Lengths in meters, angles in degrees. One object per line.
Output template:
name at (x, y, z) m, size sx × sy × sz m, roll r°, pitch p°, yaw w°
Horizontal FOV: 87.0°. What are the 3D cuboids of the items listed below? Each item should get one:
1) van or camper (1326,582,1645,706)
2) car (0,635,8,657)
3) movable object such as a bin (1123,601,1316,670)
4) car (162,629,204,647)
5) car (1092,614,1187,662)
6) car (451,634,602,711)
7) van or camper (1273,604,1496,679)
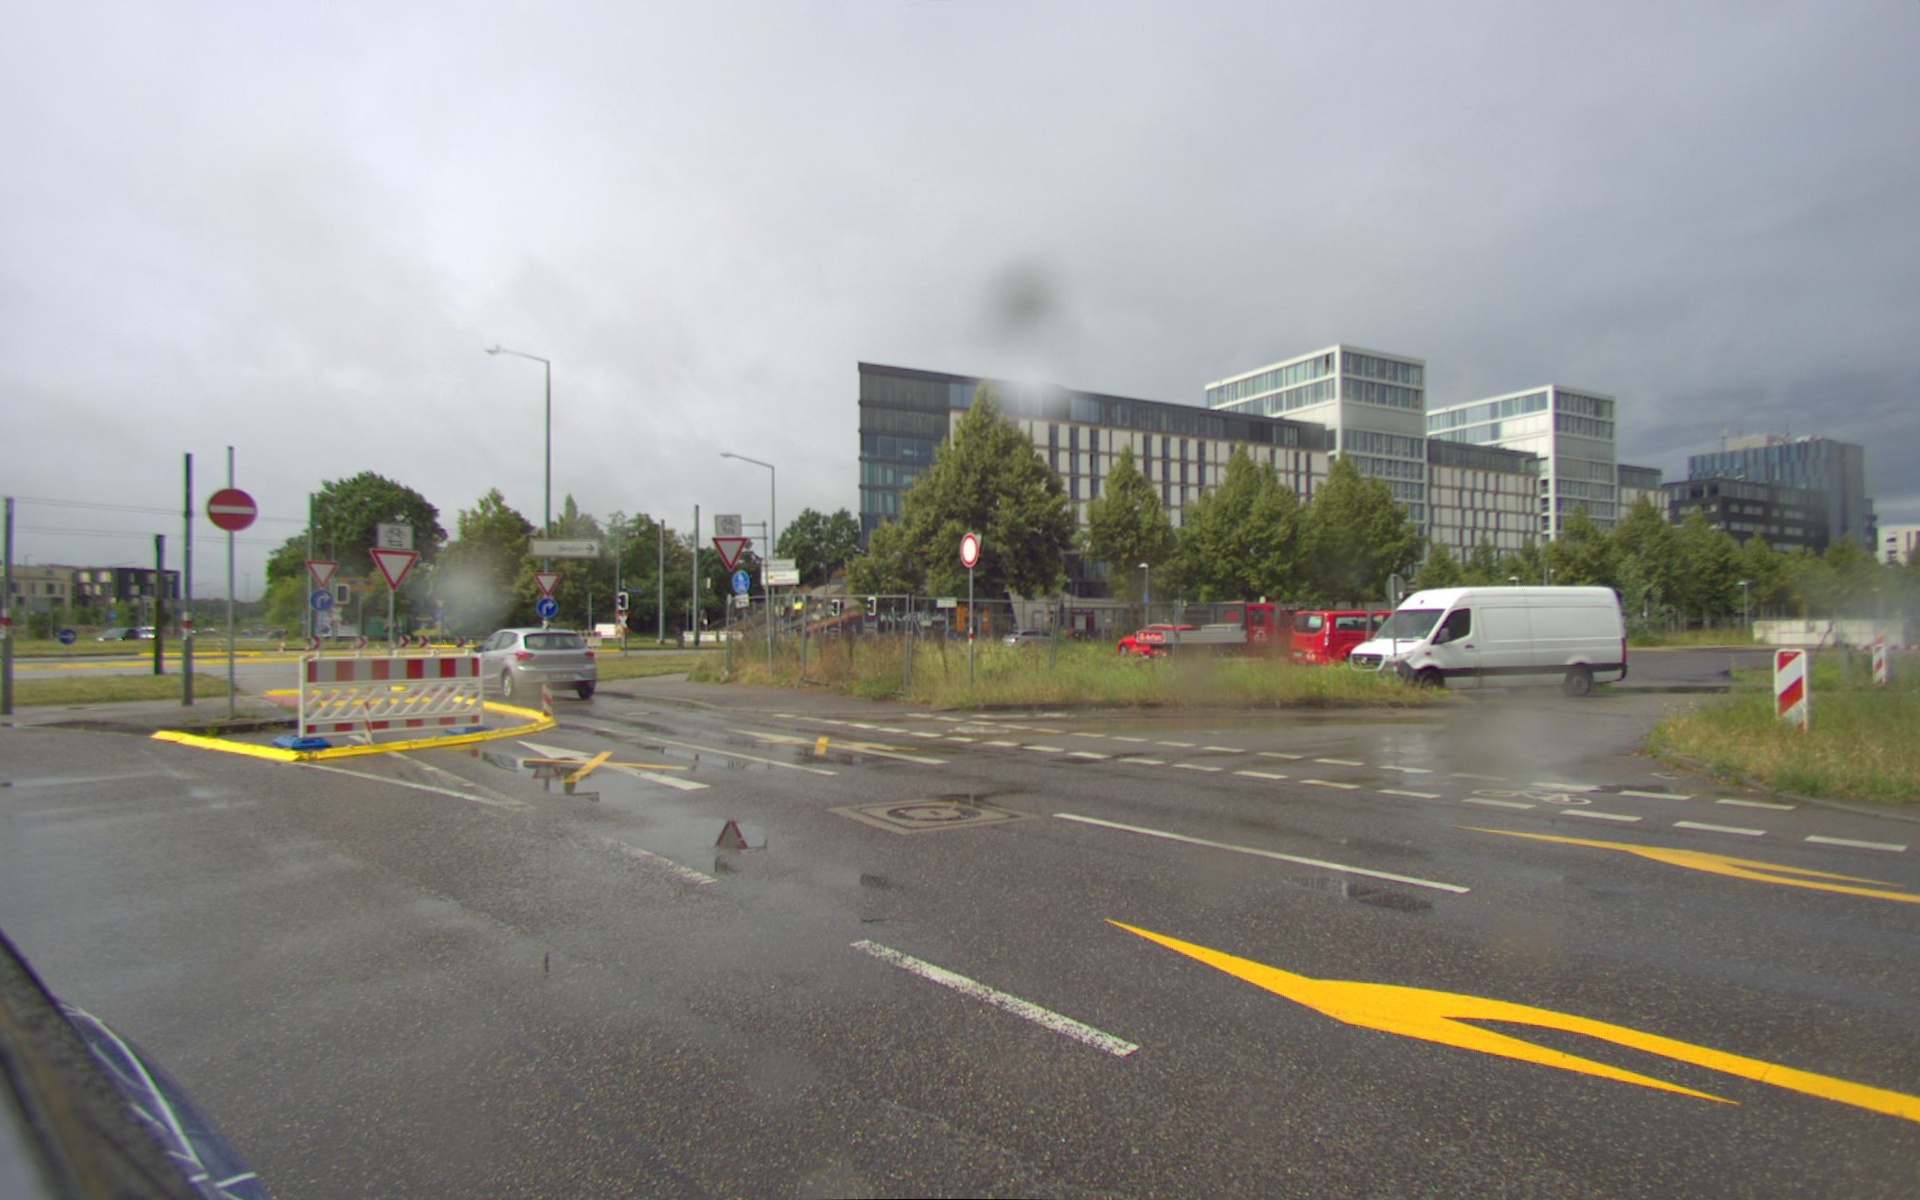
van or camper at (12.502, 0.986, 24.141) m, size 6.863 × 2.667 × 2.519 m, roll 0°, pitch -2°, yaw -17°
car at (-69.353, 3.262, 70.572) m, size 1.651 × 1.542 × 4.104 m, roll -2°, pitch -2°, yaw 11°
movable object such as a bin at (9.673, 1.279, 37.837) m, size 6.501 × 2.405 × 2.684 m, roll 0°, pitch -2°, yaw -17°
car at (-70.734, 3.452, 92.185) m, size 1.642 × 1.542 × 3.487 m, roll -1°, pitch -2°, yaw -9°
car at (7.894, 1.654, 44.829) m, size 1.966 × 2.029 × 4.012 m, roll 0°, pitch -2°, yaw -31°
car at (-9.165, 1.432, 21.219) m, size 1.717 × 1.425 × 4.185 m, roll 1°, pitch -2°, yaw -41°
van or camper at (13.333, 1.255, 31.874) m, size 6.290 × 2.205 × 2.447 m, roll 0°, pitch -2°, yaw -17°
